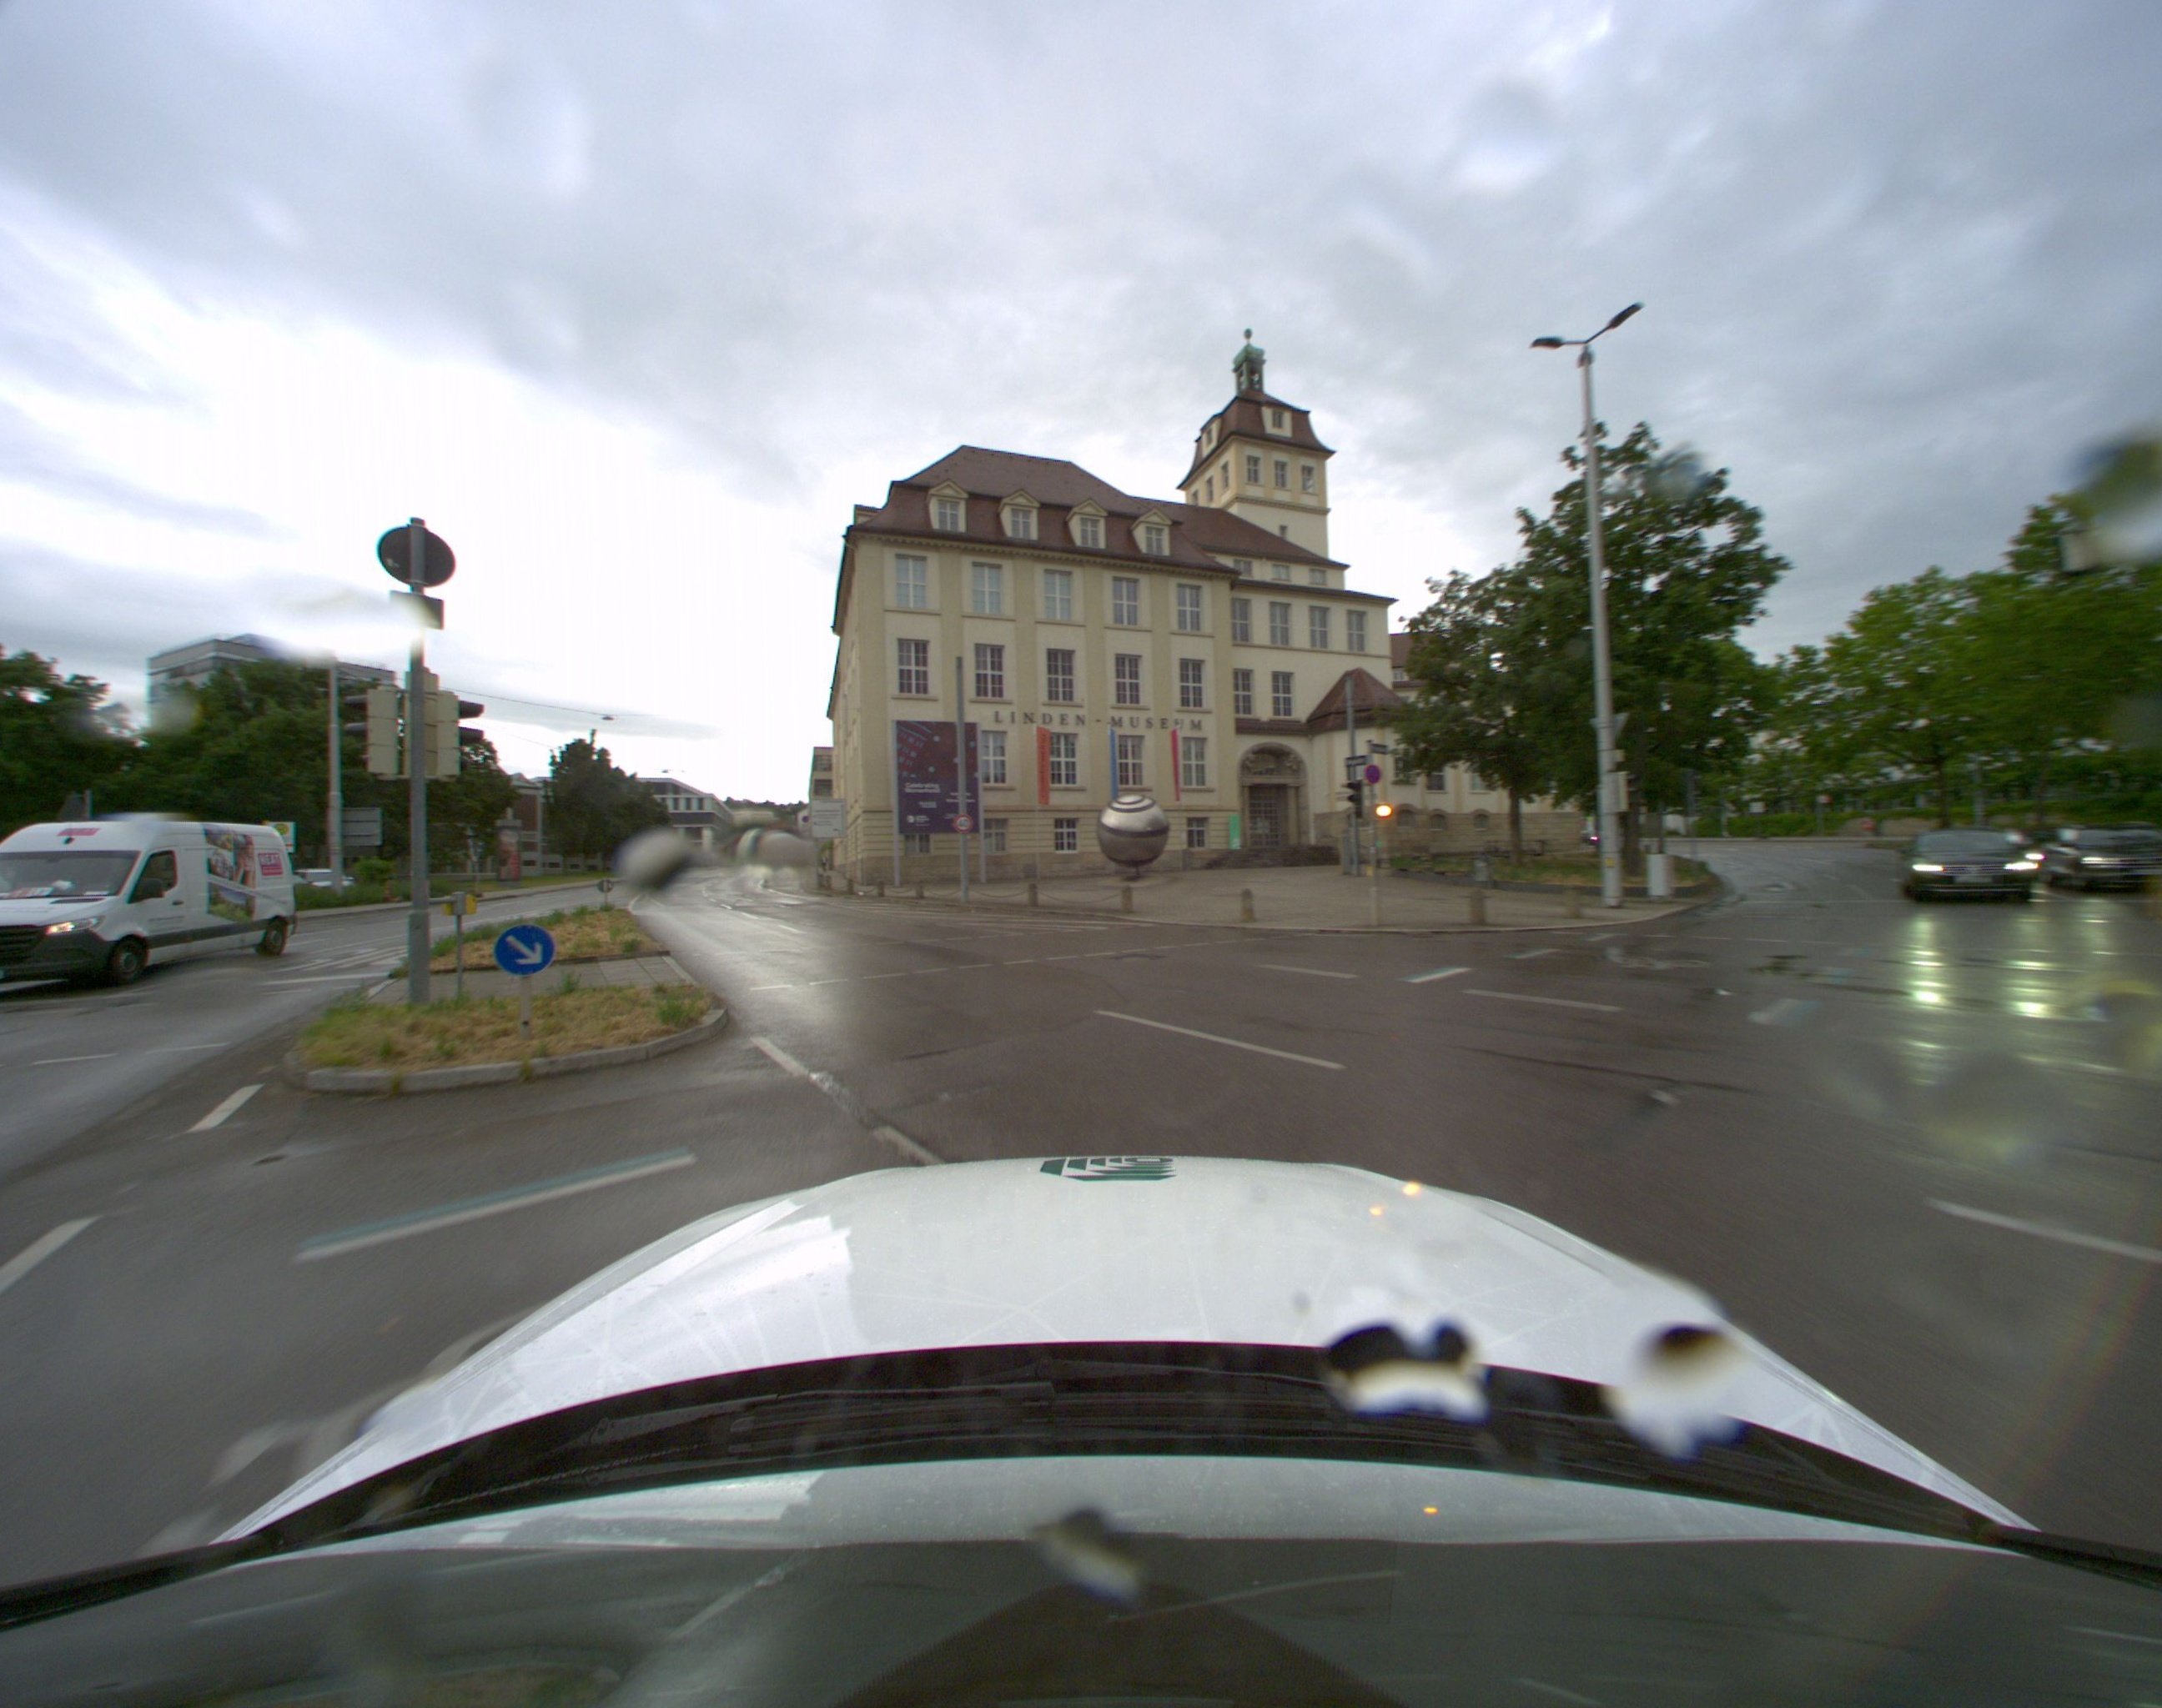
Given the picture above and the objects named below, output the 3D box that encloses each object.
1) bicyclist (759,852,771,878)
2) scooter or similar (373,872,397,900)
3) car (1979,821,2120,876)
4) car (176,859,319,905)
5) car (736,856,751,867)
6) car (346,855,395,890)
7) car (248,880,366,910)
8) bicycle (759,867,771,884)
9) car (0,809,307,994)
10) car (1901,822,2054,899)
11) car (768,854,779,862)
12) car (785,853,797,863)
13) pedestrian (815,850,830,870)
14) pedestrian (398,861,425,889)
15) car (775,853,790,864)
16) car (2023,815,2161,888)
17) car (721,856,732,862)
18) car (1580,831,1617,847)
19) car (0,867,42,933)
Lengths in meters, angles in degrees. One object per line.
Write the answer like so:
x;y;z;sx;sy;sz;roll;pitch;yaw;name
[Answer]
-20.438;0.686;52.687;0.703;1.632;1.120;0;0;-22;bicyclist
-32.121;1.460;37.579;0.458;1.266;0.972;0;0;-15;scooter or similar
28.423;-0.184;24.046;1.771;1.441;4.026;-2;0;37;car
-33.364;1.091;32.659;3.968;1.768;1.836;0;0;4;car
-52.866;1.207;127.608;1.899;1.625;3.622;0;1;-20;car
-37.639;0.988;43.158;1.864;1.742;4.026;-1;-1;-41;car
-33.508;1.763;35.317;3.472;1.220;1.836;0;-1;4;car
-20.408;1.359;52.628;0.649;1.056;1.807;-1;-1;-24;bicycle
-15.991;0.686;13.726;2.067;2.494;5.994;-3;0;-22;car
20.508;0.107;18.829;1.850;1.564;4.303;-3;0;41;car
-60.560;0.804;160.450;1.844;1.559;3.976;0;1;-18;car
-50.637;0.661;142.408;1.844;1.559;3.976;0;1;-18;car
-25.170;0.585;79.414;1.243;1.788;1.586;-3;1;-17;pedestrian
-37.909;1.178;46.120;0.805;1.571;0.954;0;0;-10;pedestrian
-45.288;0.691;123.765;1.842;1.559;3.979;0;1;-16;car
24.659;-0.085;19.583;1.771;1.585;4.026;-2;0;37;car
-79.840;1.135;183.426;1.843;1.235;3.398;0;1;-16;car
48.522;-1.394;76.402;1.775;1.441;4.017;-2;0;15;car
-31.039;1.303;22.401;4.452;1.768;1.844;-2;-1;22;car
